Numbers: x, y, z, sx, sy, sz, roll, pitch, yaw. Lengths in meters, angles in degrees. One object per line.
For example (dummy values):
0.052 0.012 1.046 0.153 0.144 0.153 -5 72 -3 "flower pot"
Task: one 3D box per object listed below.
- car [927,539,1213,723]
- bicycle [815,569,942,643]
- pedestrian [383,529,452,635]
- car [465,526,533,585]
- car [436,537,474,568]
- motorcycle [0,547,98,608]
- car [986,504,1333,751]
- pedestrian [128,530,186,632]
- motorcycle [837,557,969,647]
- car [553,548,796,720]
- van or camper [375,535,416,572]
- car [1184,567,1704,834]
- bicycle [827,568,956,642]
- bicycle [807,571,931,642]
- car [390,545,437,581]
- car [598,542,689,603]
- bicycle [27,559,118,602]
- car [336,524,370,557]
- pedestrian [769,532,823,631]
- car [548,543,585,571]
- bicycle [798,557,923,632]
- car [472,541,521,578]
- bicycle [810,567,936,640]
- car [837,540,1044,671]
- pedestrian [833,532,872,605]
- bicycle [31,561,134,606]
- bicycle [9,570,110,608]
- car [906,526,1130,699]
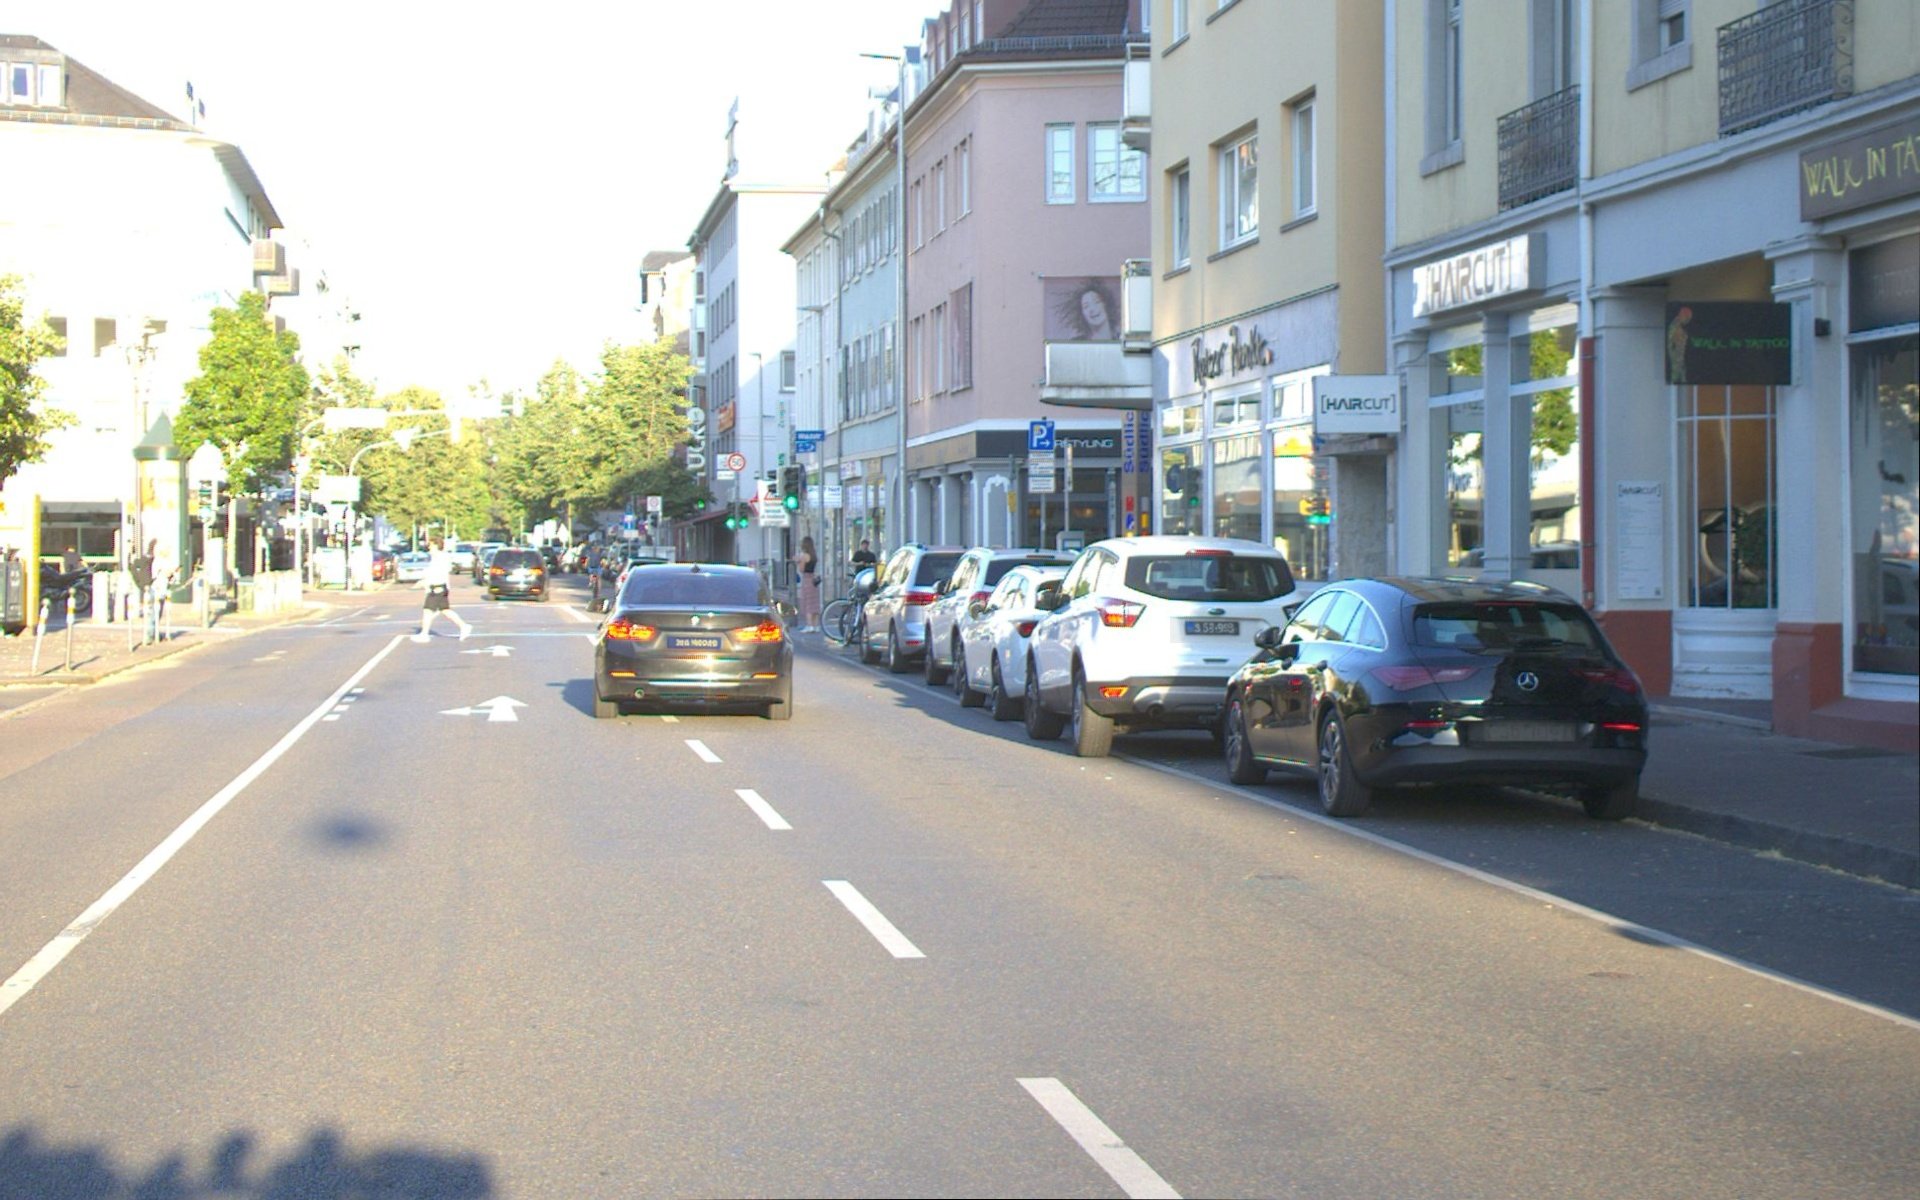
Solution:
0.963 0.236 33.151 2.015 1.538 4.871 0 2 -7 "car"
-1.259 0.094 53.070 1.883 1.108 0.521 1 1 -10 "bicycle"
-8.891 -0.295 56.342 0.869 1.714 0.759 0 1 -32 "pedestrian"
-14.092 -1.383 105.147 1.993 1.744 4.001 0 1 -7 "car"
-29.462 -2.770 200.587 1.993 1.744 4.001 1 1 -6 "car"
-21.573 -0.540 80.876 2.412 1.421 1.113 0 1 -8 "motorcycle"
1.476 0.136 27.385 1.881 1.739 4.661 0 2 -8 "car"
-13.564 -0.324 58.055 0.881 1.714 0.715 0 1 -19 "pedestrian"
-0.834 0.026 50.218 1.812 1.259 0.716 -1 1 -10 "motorcycle"
-2.730 0.267 32.070 1.888 1.487 4.206 0 1 -10 "car"
-37.049 -3.065 225.436 2.472 2.397 4.001 1 1 -11 "van or camper"
2.857 0.542 21.523 1.993 1.429 4.851 0 1 -7 "car"
-1.039 0.082 52.258 1.883 1.109 0.593 1 -1 -10 "bicycle"
-1.466 0.106 55.365 1.883 1.108 0.762 0 1 -11 "bicycle"
-24.787 -1.693 156.000 1.893 1.590 4.001 1 1 -6 "car"
-8.775 -0.777 95.010 2.333 1.598 3.895 0 1 -7 "car"
-23.198 -0.512 89.905 2.235 1.131 0.812 0 1 -10 "bicycle"
-37.788 -3.696 214.091 1.827 2.007 3.677 1 1 -6 "car"
-2.881 -0.330 60.324 0.794 1.714 0.812 0 1 -14 "pedestrian"
-23.006 -2.527 200.932 1.893 1.590 4.001 0 1 -11 "car"
-1.584 -0.089 54.531 1.883 1.163 0.723 0 1 -11 "bicycle"
-19.126 -1.700 141.880 1.884 1.481 4.001 0 1 -6 "car"
-1.352 0.055 53.602 1.883 1.108 0.602 0 1 -10 "bicycle"
-0.320 0.033 44.903 1.993 1.607 4.805 0 1 -9 "car"
-2.607 -0.766 83.339 0.757 1.771 1.049 0 1 -12 "pedestrian"
-22.652 -0.431 88.750 2.523 1.142 0.701 0 1 -10 "bicycle"
-21.990 -0.270 84.007 2.326 0.916 0.701 0 1 -10 "bicycle"
0.588 0.088 38.884 1.867 1.756 4.410 0 2 -8 "car"
